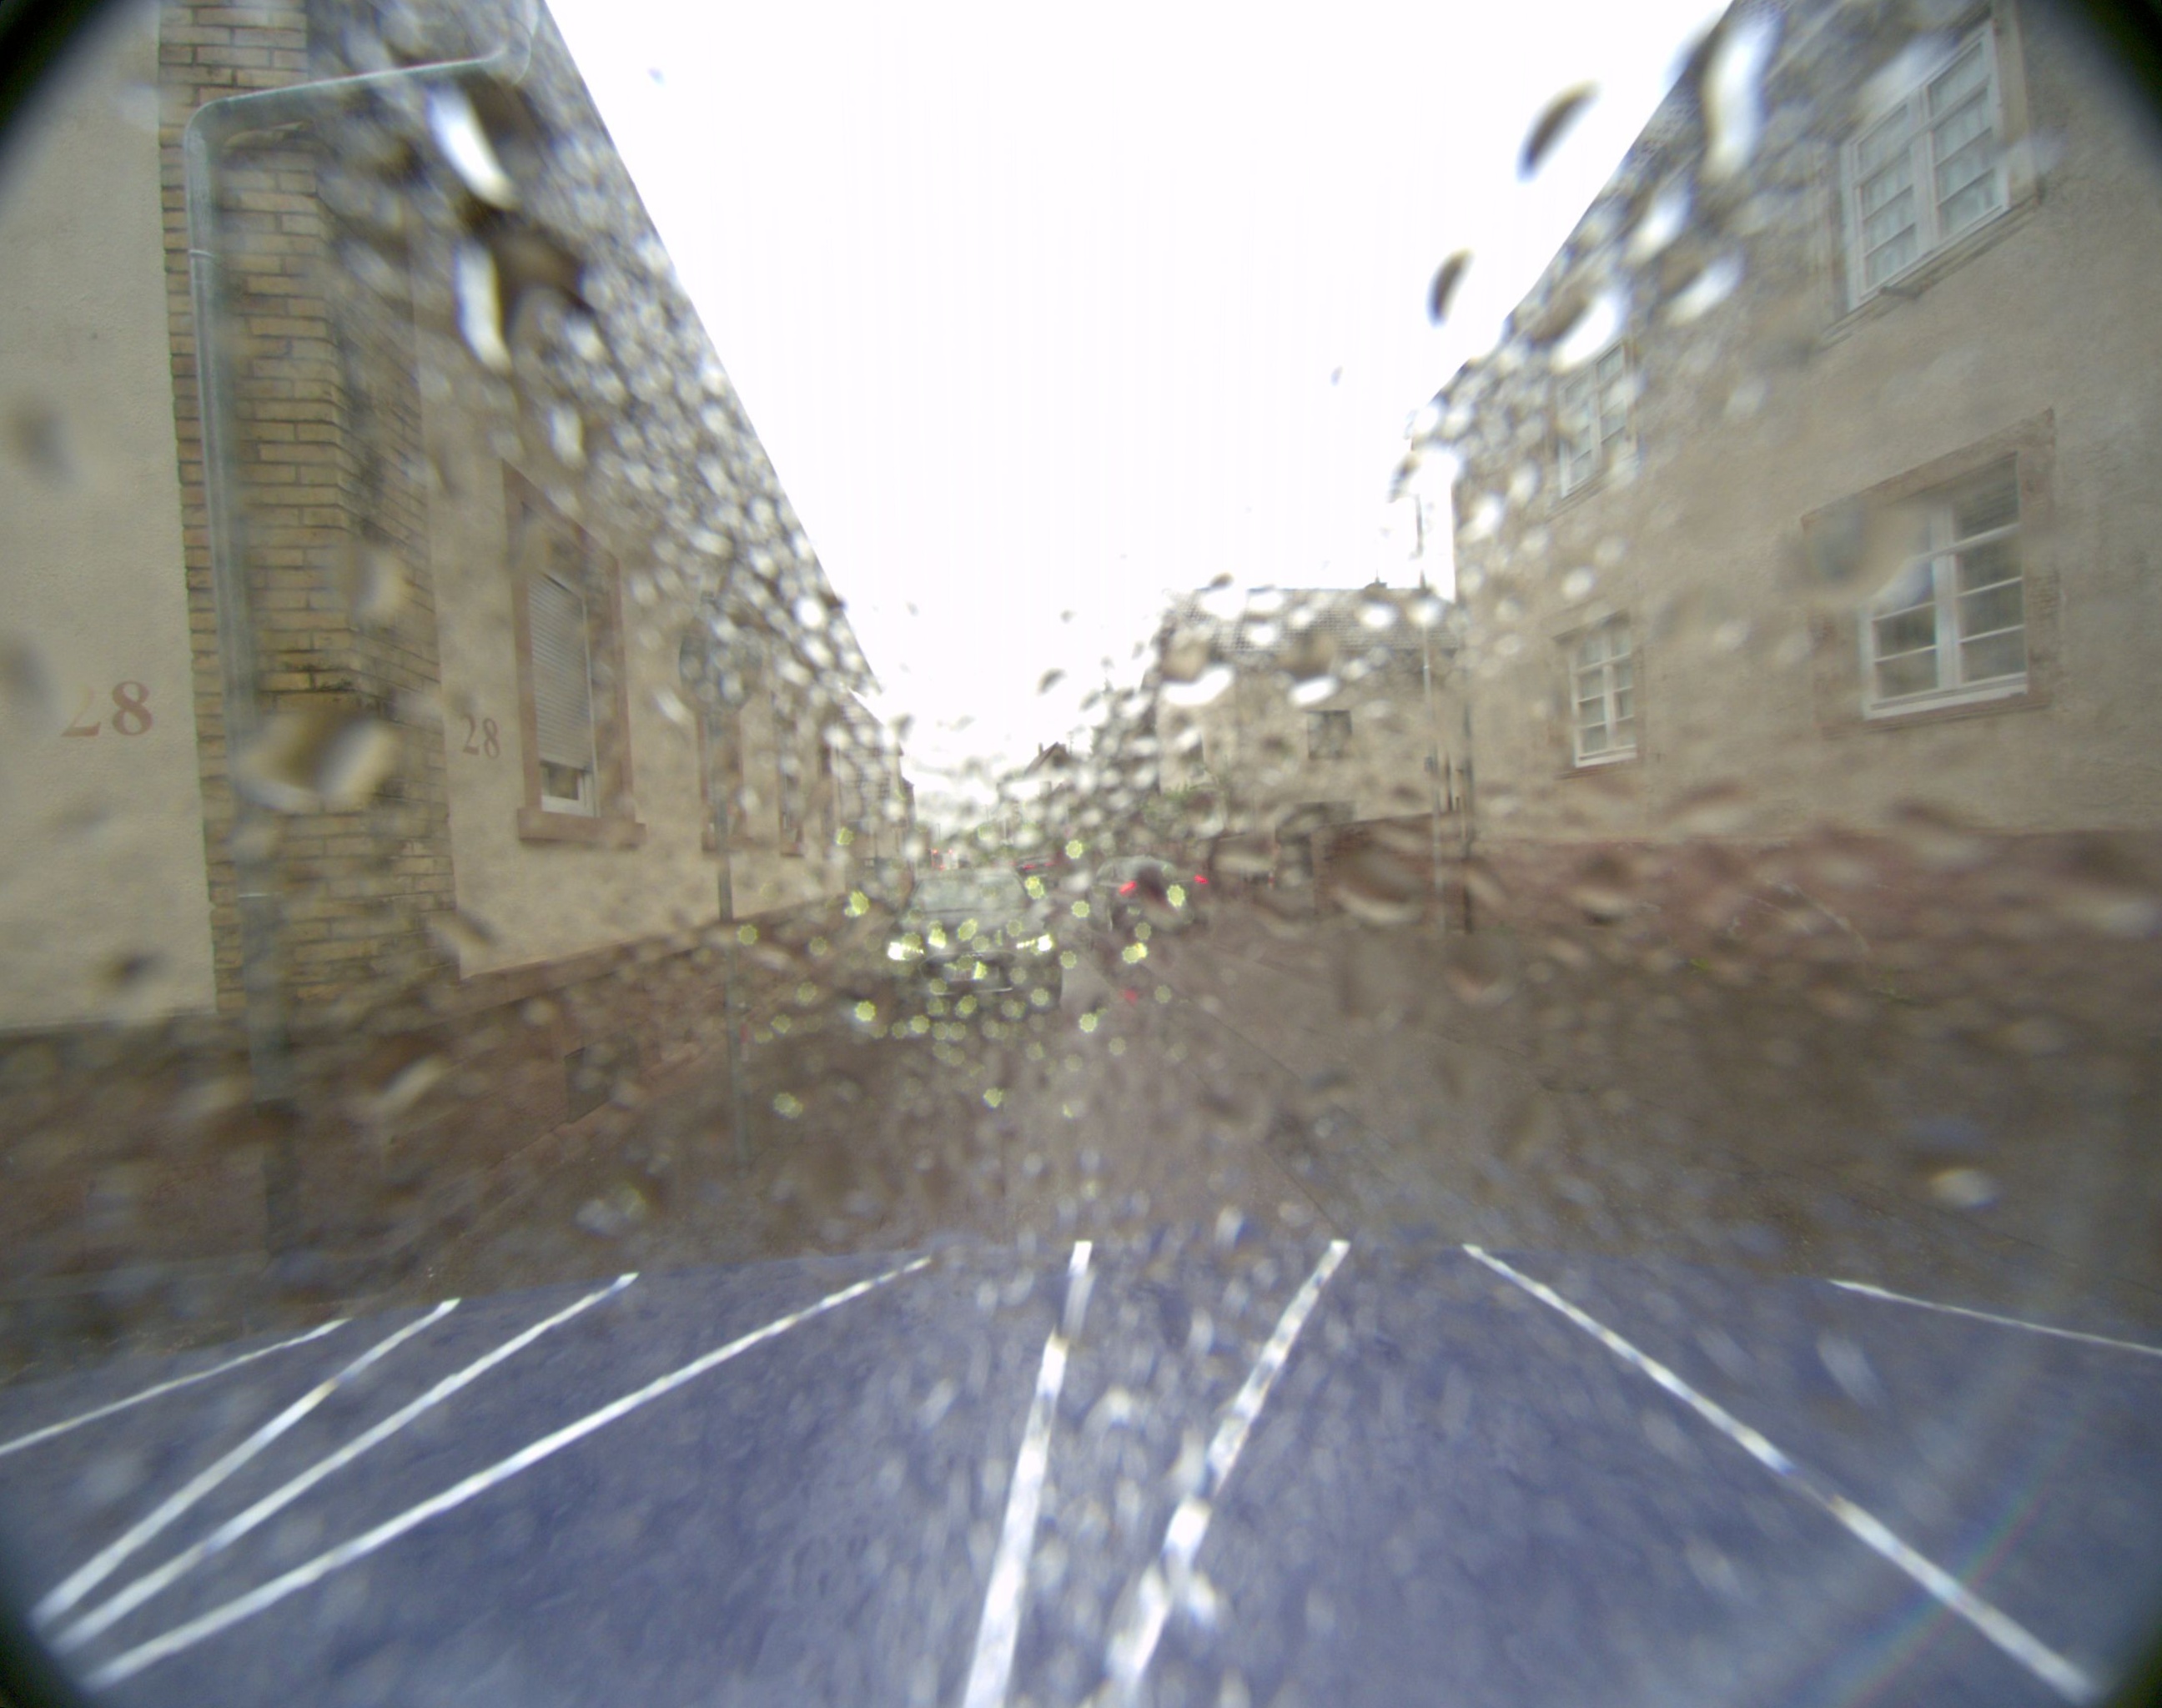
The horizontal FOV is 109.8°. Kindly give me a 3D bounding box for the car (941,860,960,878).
[{"bbox_3d":[-15.765,1.752,91.689,2.001,2.002,3.995,-2,1,-13],"label":"car"}]

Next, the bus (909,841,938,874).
[{"bbox_3d":[-16.829,0.337,81.019,2.670,3.213,12.178,-2,1,-12],"label":"bus"}]

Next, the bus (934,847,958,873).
[{"bbox_3d":[-18.107,0.748,101.572,2.670,3.213,12.178,-2,1,-12],"label":"bus"}]

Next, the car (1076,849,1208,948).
[{"bbox_3d":[1.055,0.749,15.298,1.701,1.500,4.338,-7,1,-6],"label":"car"}]

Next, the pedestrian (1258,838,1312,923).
[{"bbox_3d":[3.902,0.495,14.565,0.574,1.529,0.832,-5,1,-12],"label":"pedestrian"}]

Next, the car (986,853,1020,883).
[{"bbox_3d":[-5.013,0.855,48.418,1.786,1.655,4.422,-5,2,-8],"label":"car"}]

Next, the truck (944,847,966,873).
[{"bbox_3d":[-13.020,0.564,78.073,2.000,2.490,5.644,-2,1,-11],"label":"truck"}]

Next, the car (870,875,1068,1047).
[{"bbox_3d":[-1.326,1.019,8.984,1.740,1.363,4.098,-2,0,-9],"label":"car"}]

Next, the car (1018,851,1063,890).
[{"bbox_3d":[-1.915,0.718,34.950,1.627,1.502,3.790,-6,1,-8],"label":"car"}]
